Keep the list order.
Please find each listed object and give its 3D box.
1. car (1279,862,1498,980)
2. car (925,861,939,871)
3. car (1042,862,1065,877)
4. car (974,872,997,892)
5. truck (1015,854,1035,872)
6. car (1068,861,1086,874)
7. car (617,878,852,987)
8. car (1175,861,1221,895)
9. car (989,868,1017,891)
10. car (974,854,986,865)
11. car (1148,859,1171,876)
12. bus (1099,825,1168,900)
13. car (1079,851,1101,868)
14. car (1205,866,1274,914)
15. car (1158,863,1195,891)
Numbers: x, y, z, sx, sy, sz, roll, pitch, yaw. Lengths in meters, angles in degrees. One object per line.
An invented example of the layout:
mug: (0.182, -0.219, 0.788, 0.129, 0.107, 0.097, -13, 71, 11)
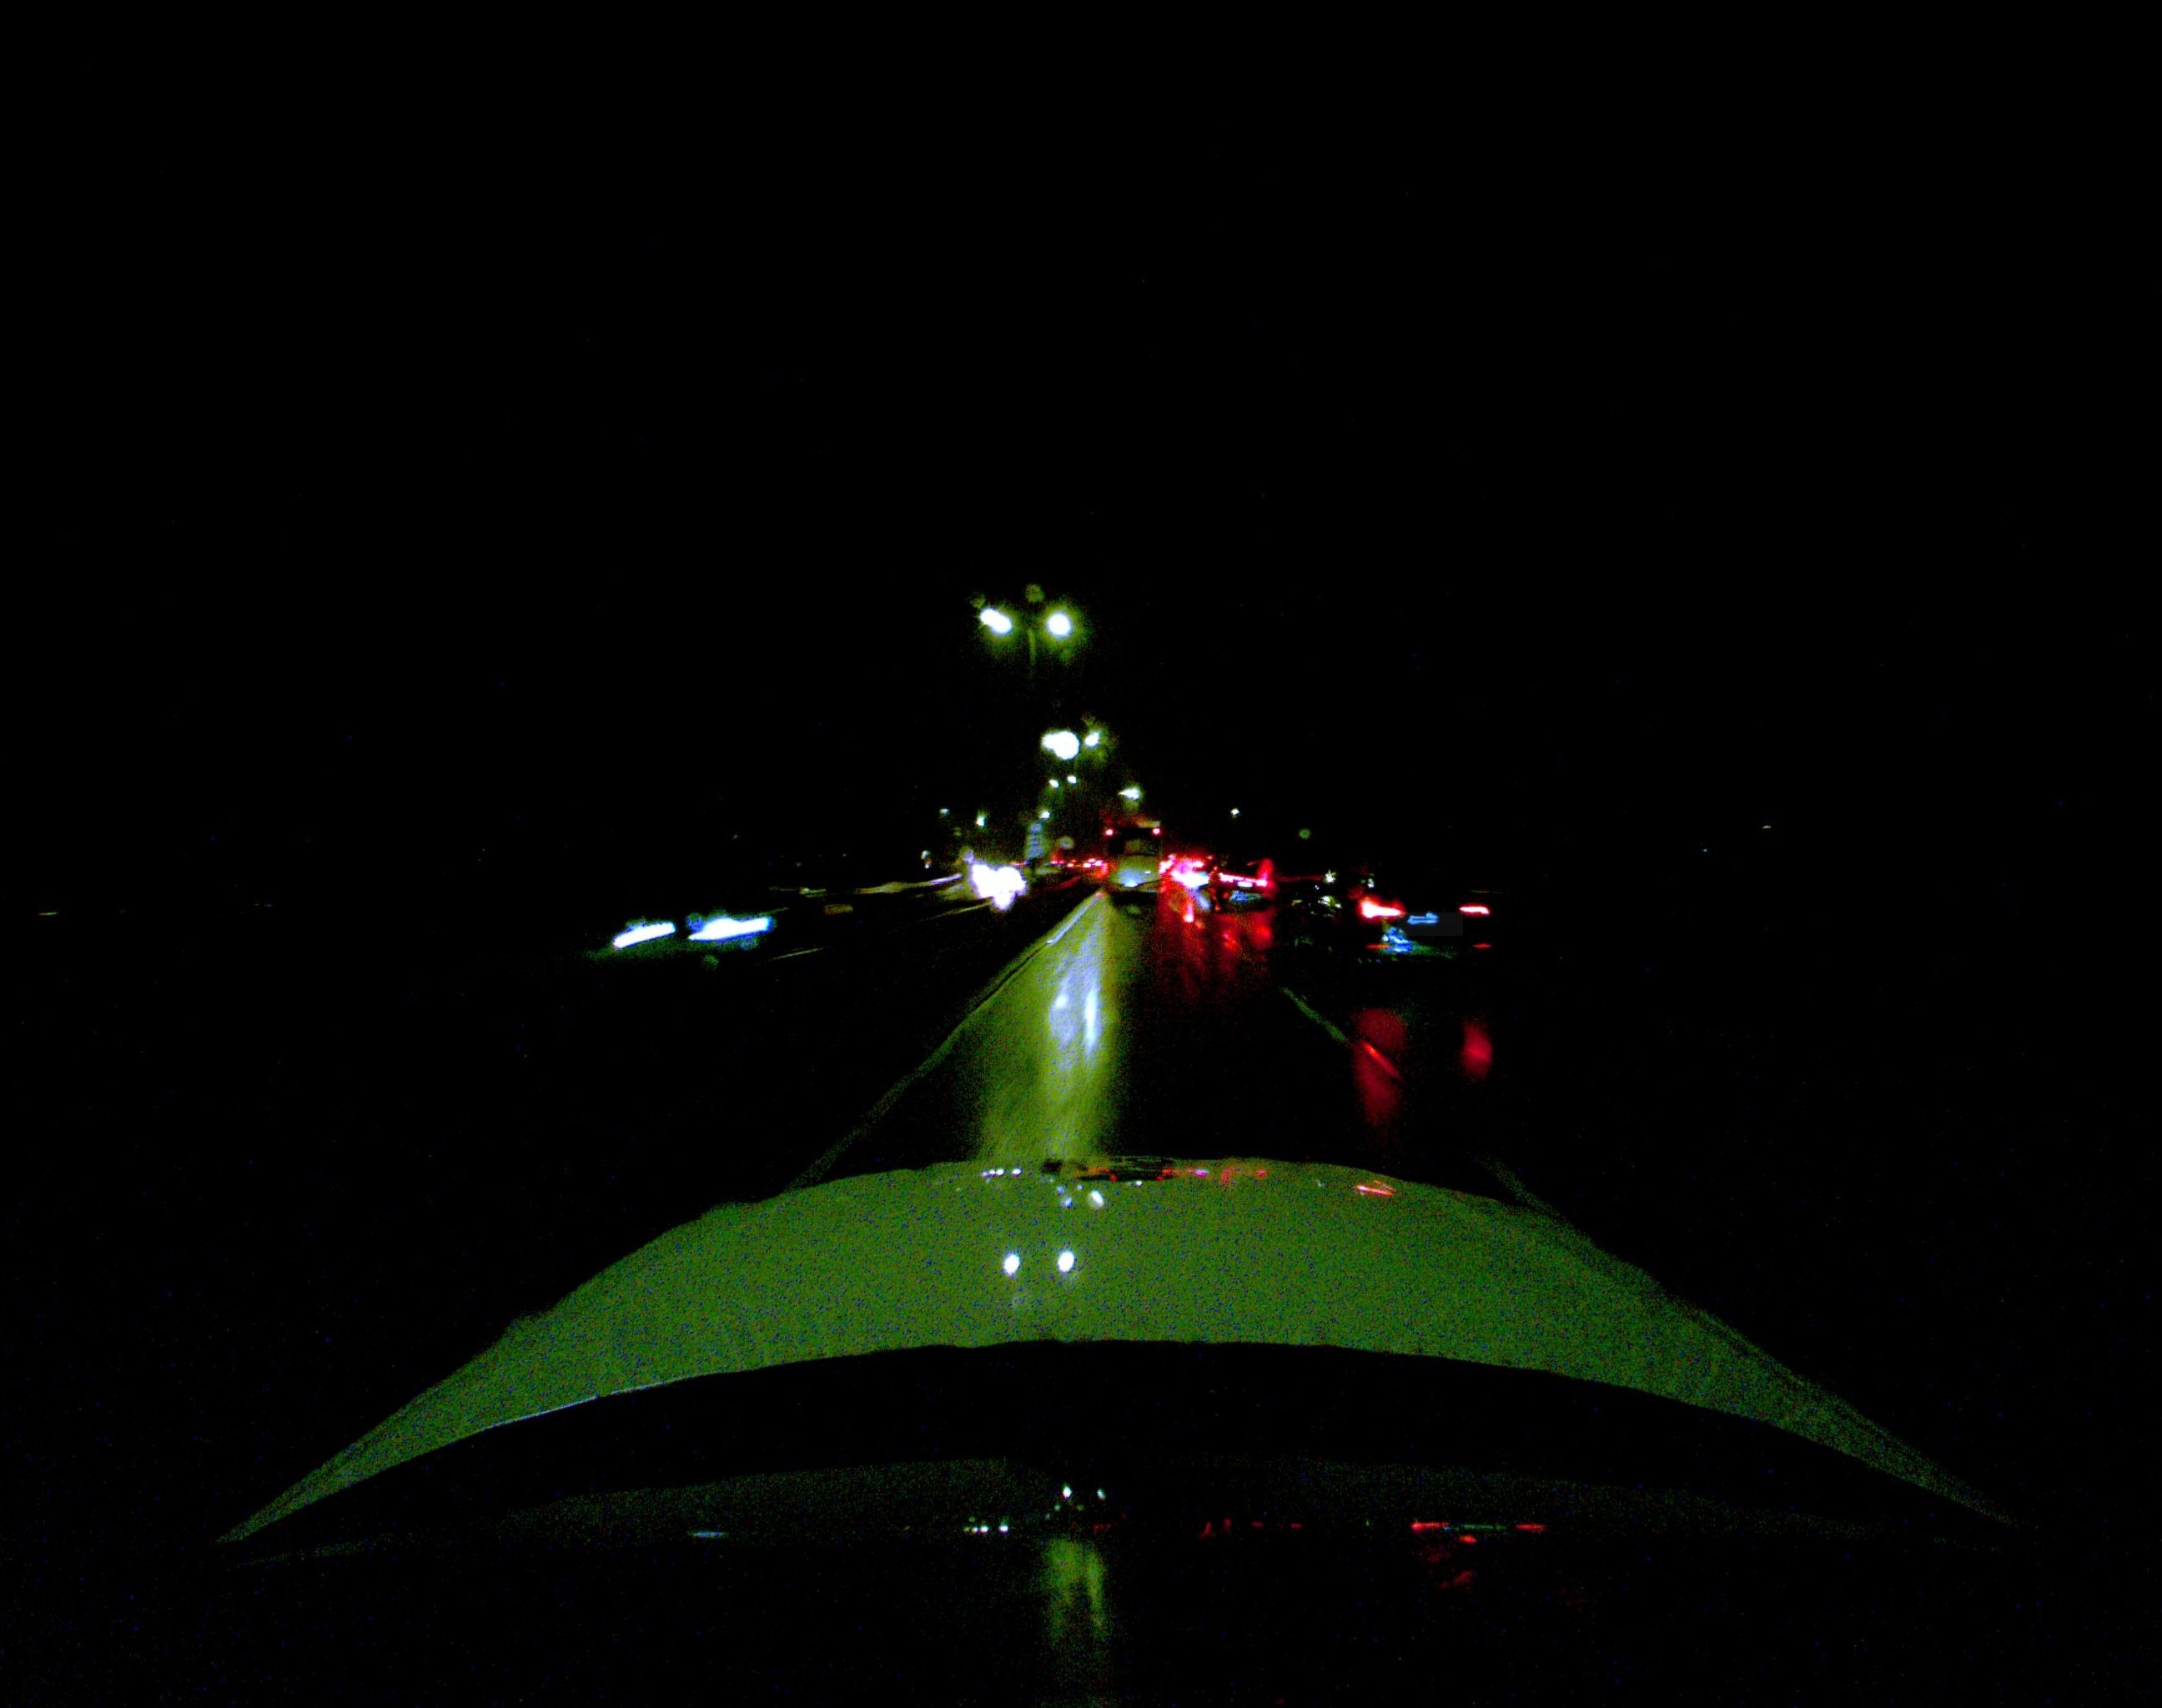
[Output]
car: (4.378, 0.856, 12.451, 1.725, 1.449, 4.727, 0, -1, 2)
car: (-29.945, 2.381, 163.433, 2.001, 2.014, 3.971, 1, -1, -22)
car: (-3.983, 2.235, 118.177, 2.219, 2.014, 3.973, -1, -1, -20)
car: (-9.489, 2.772, 81.433, 1.989, 2.014, 3.996, 0, -1, -3)
truck: (-8.399, 1.251, 121.671, 1.860, 2.392, 4.753, -3, 2, -16)
car: (-0.542, 1.808, 109.319, 1.751, 1.631, 3.609, 0, -1, -11)
car: (-5.794, 1.227, 14.399, 1.848, 1.476, 4.782, -2, -1, 3)
car: (5.991, 1.205, 42.125, 1.813, 1.590, 3.776, -2, -1, 0)
car: (-5.999, 1.938, 62.878, 1.614, 1.651, 4.001, -2, -1, 1)
car: (-19.129, 1.114, 154.404, 2.121, 2.014, 3.987, 0, -1, -9)
car: (7.081, 1.210, 73.868, 1.773, 1.543, 3.876, 0, -1, 2)
bus: (2.283, 0.399, 37.393, 2.804, 3.024, 8.690, 0, -1, 2)
car: (1.068, 0.741, 100.055, 1.995, 2.014, 3.983, 0, -1, -12)
car: (5.531, 1.213, 28.792, 1.733, 1.565, 3.776, 0, -1, 0)
car: (5.792, 1.378, 49.831, 1.813, 1.590, 3.776, -2, -1, 0)
